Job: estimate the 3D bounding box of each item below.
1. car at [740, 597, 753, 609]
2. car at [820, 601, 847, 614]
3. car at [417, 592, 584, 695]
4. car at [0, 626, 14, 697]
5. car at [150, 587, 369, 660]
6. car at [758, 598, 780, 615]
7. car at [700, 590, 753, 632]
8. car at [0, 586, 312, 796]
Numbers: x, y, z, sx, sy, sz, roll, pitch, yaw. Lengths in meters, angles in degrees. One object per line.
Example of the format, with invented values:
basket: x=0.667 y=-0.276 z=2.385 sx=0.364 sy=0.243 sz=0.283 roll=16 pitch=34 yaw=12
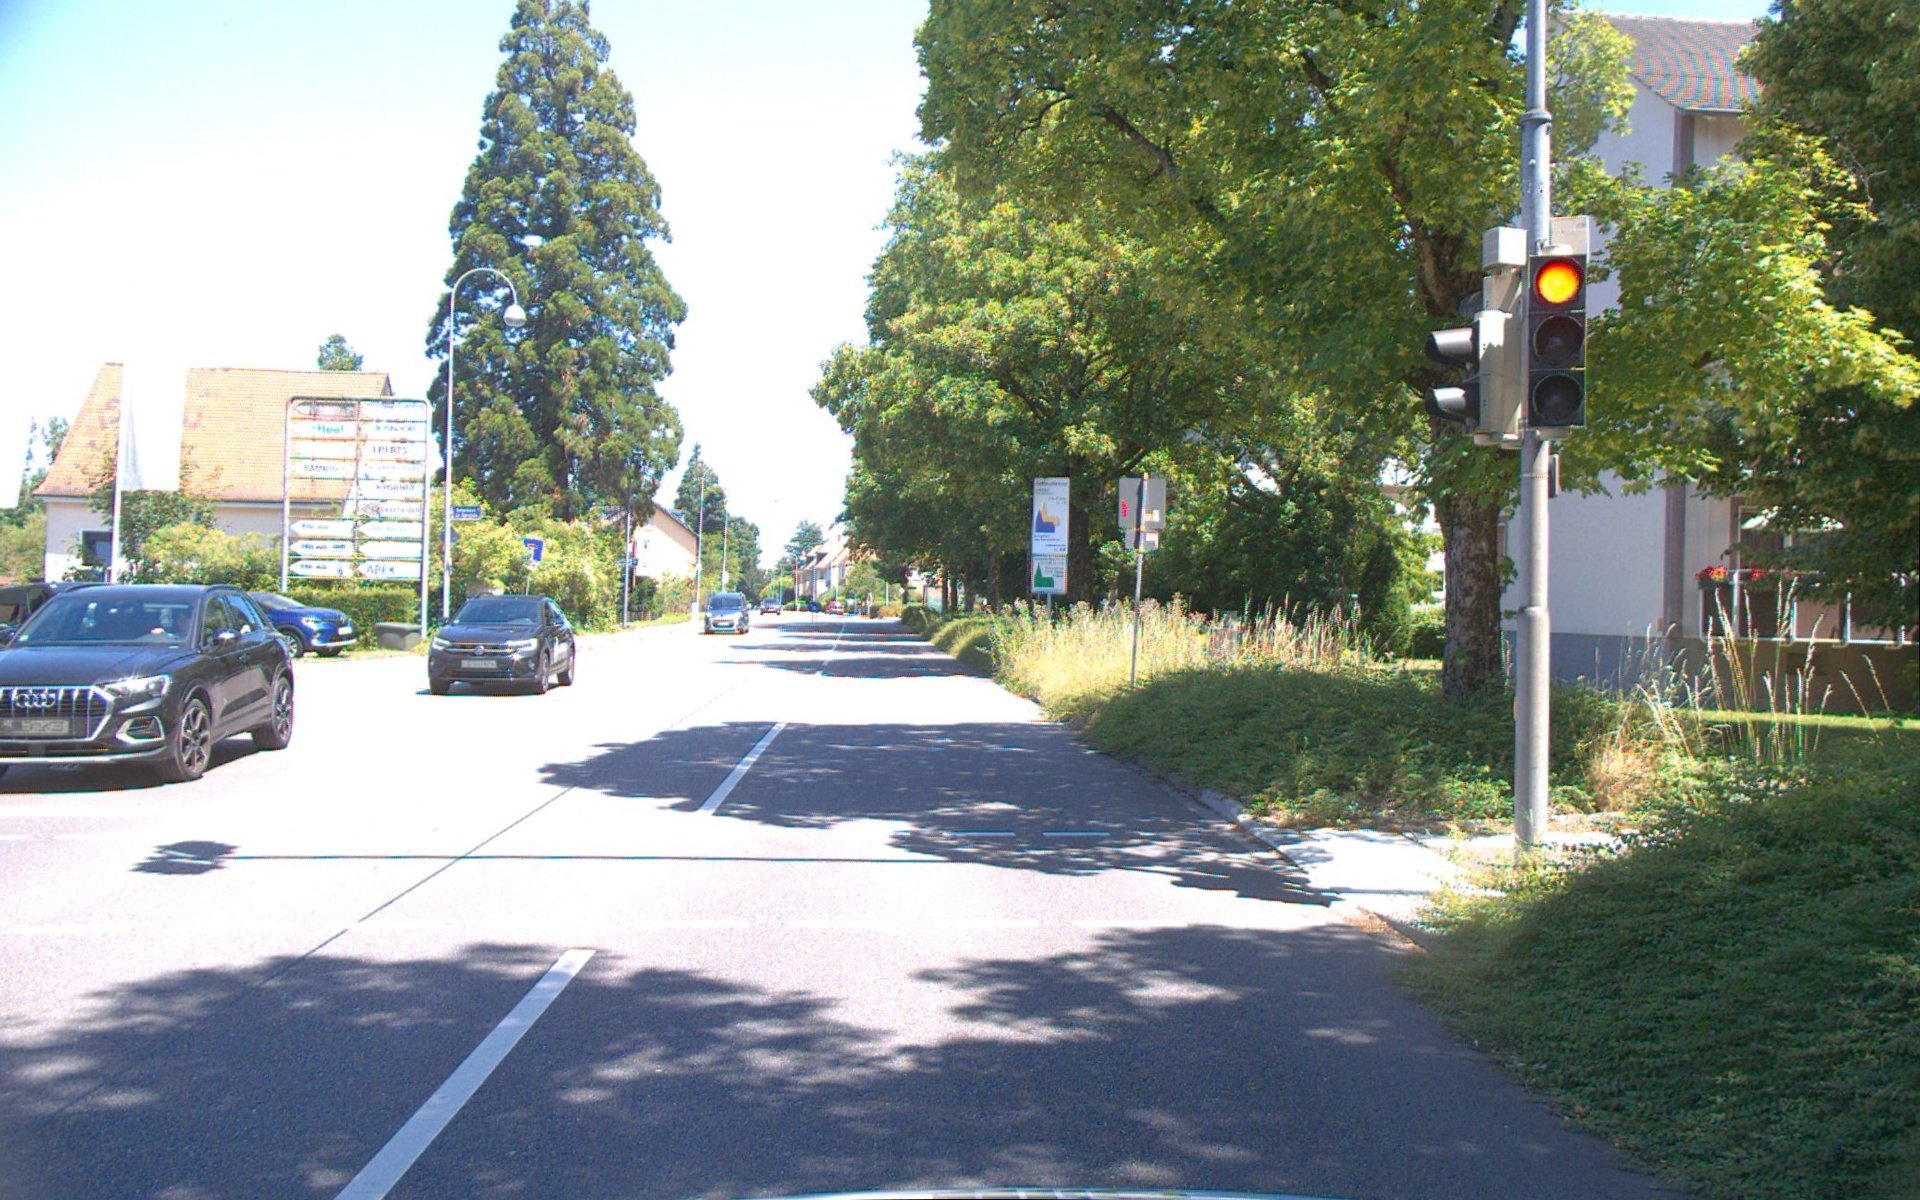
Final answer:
car: x=-33.430 y=0.471 z=259.049 sx=1.647 sy=1.713 sz=3.998 roll=0 pitch=0 yaw=-2
car: x=-13.831 y=0.829 z=181.280 sx=1.914 sy=1.383 sz=4.439 roll=0 pitch=0 yaw=-19
car: x=-7.271 y=0.647 z=26.552 sx=1.832 sy=1.533 sz=4.049 roll=0 pitch=0 yaw=-5
car: x=-24.743 y=1.533 z=40.070 sx=1.775 sy=1.752 sz=4.081 roll=1 pitch=0 yaw=-8
car: x=-15.197 y=0.501 z=35.972 sx=4.047 sy=1.531 sz=1.779 roll=0 pitch=0 yaw=8
car: x=-17.777 y=0.614 z=154.320 sx=1.758 sy=1.563 sz=4.312 roll=1 pitch=0 yaw=-3
car: x=-10.256 y=0.471 z=72.992 sx=1.774 sy=1.793 sz=4.569 roll=1 pitch=0 yaw=-1
car: x=-7.293 y=0.687 z=14.646 sx=1.890 sy=1.582 sz=4.295 roll=0 pitch=0 yaw=-8
